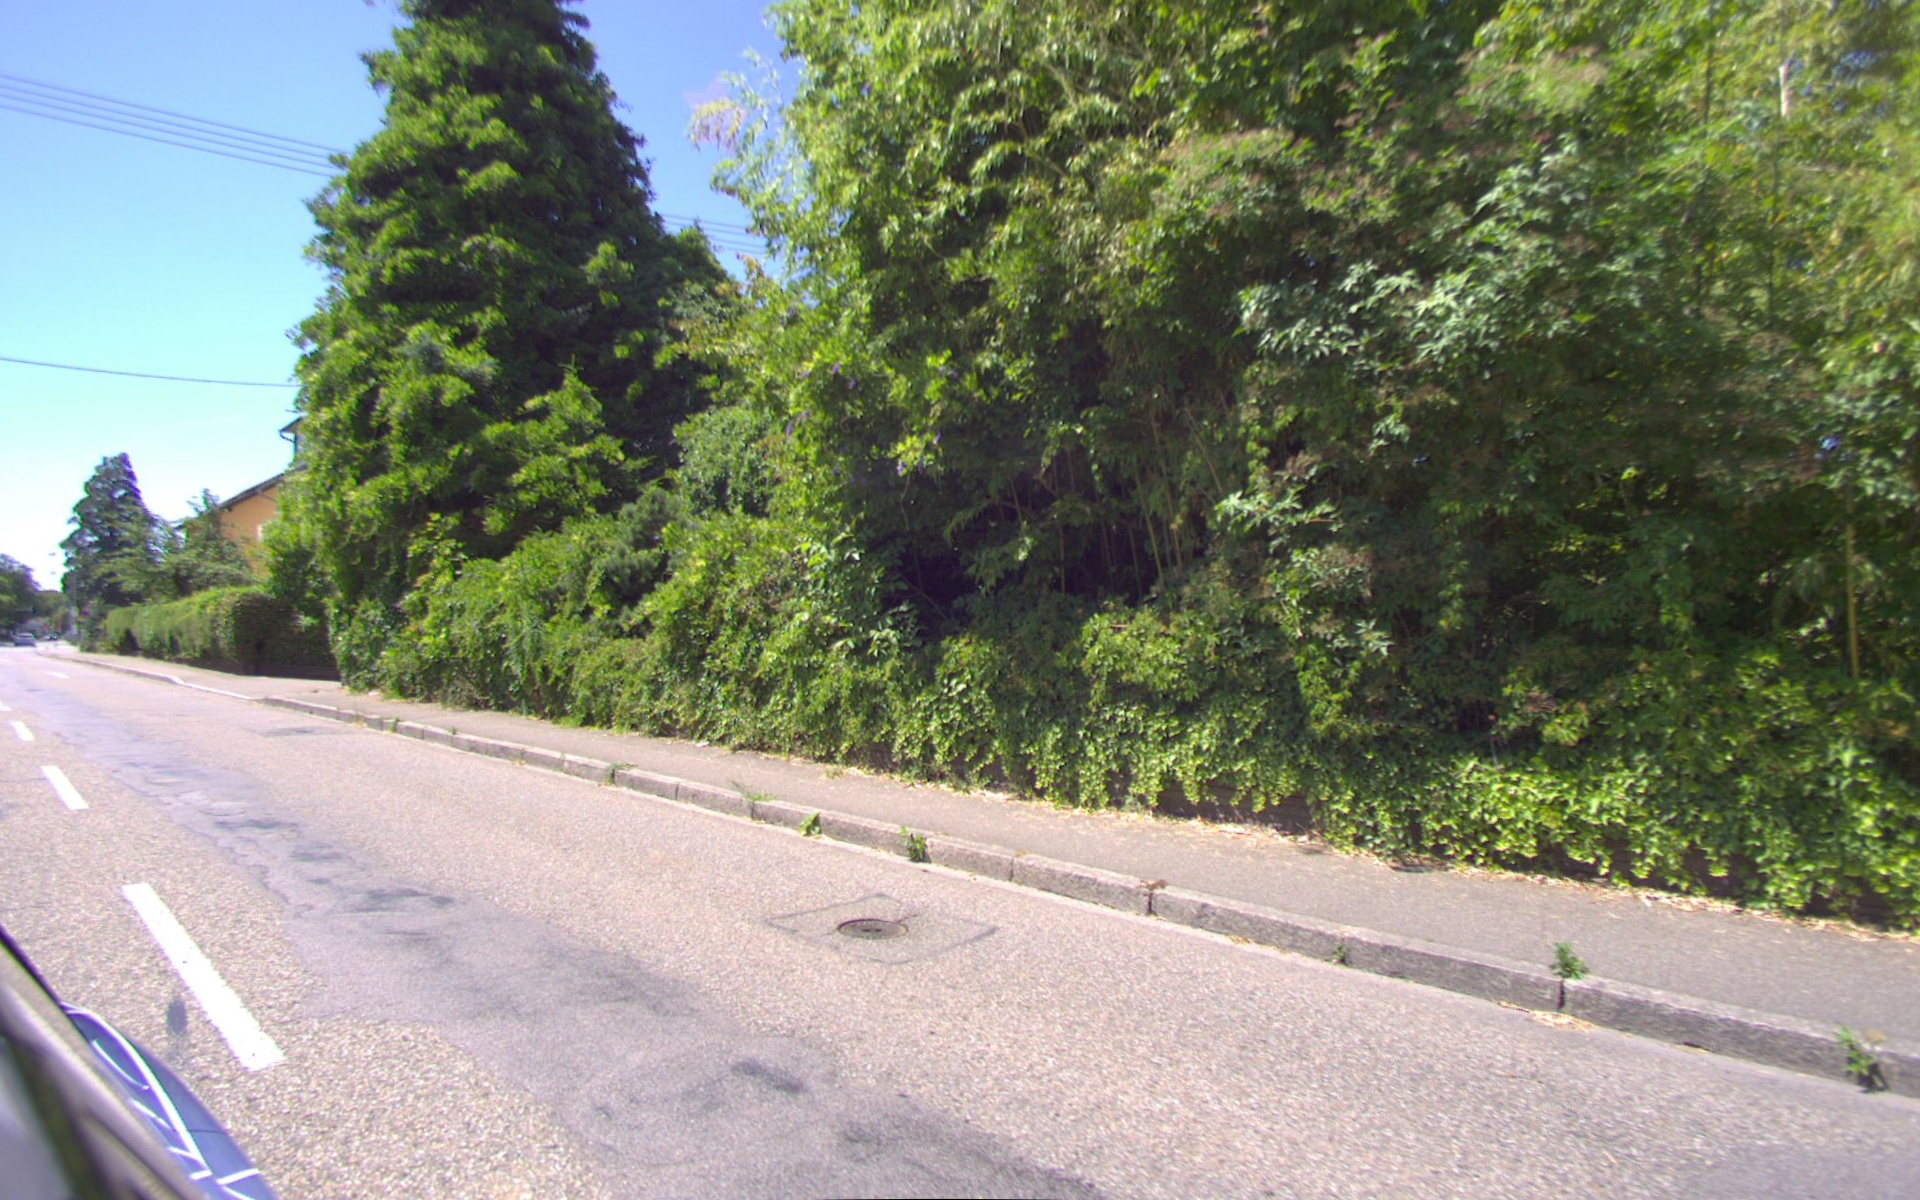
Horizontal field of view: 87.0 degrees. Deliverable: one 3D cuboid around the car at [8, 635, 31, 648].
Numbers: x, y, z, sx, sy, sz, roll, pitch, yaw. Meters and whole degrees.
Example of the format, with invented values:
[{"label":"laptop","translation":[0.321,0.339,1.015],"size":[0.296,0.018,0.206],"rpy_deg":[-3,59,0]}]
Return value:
[{"label":"car","translation":[-103.744,4.590,111.568],"size":[1.661,1.383,4.208],"rpy_deg":[4,-4,-45]}]
